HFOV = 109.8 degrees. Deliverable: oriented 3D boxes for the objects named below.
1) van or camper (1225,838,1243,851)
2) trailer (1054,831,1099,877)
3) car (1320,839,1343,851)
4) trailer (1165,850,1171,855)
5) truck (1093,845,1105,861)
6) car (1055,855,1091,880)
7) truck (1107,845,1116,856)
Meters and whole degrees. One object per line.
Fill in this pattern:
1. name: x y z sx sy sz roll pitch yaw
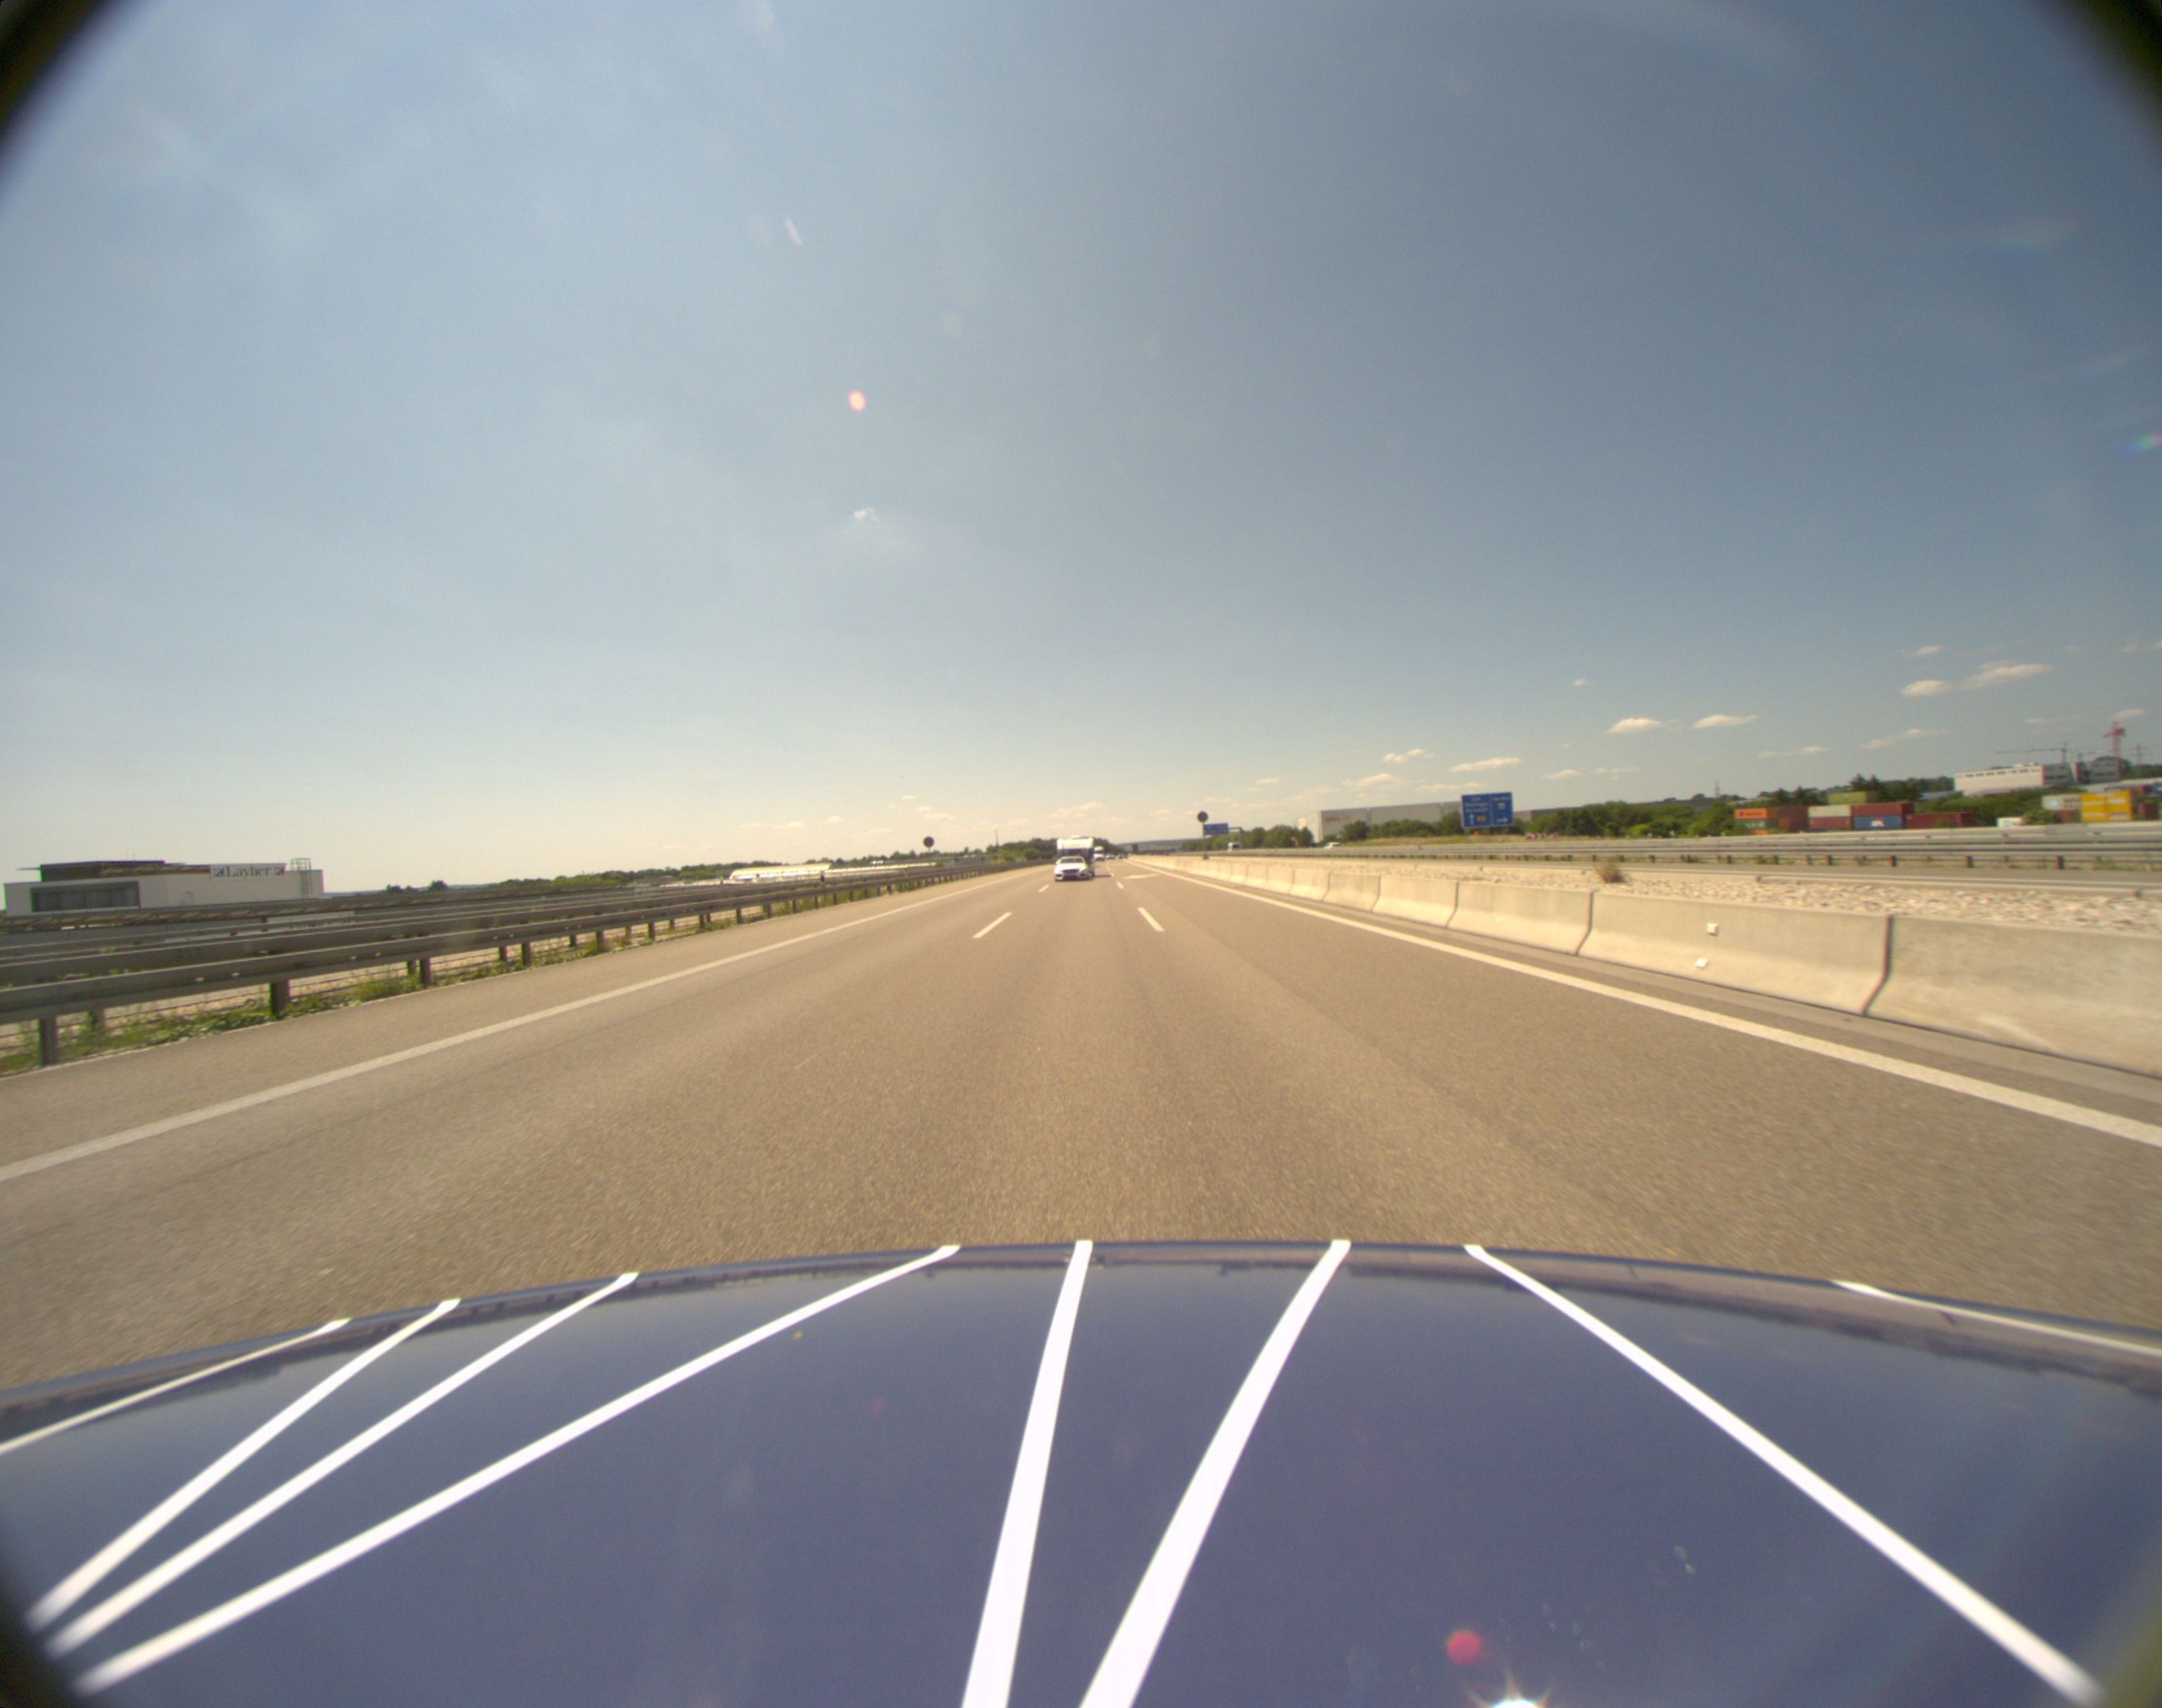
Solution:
1. van or camper: 34.974 -2.038 173.648 2.552 2.805 7.542 -2 0 1
2. trailer: -0.205 -0.006 49.262 2.500 2.686 7.155 -2 0 2
3. car: 31.280 -1.123 95.042 1.567 1.371 4.362 -2 0 2
4. trailer: 29.374 -0.544 257.241 1.760 1.427 3.684 -1 0 3
5. truck: 3.422 -0.177 145.222 2.168 2.797 6.490 -3 0 1
6. car: -0.422 0.740 43.831 1.872 1.352 3.673 -1 0 2
7. truck: 7.943 -0.991 196.824 2.168 2.797 6.491 -3 1 4
